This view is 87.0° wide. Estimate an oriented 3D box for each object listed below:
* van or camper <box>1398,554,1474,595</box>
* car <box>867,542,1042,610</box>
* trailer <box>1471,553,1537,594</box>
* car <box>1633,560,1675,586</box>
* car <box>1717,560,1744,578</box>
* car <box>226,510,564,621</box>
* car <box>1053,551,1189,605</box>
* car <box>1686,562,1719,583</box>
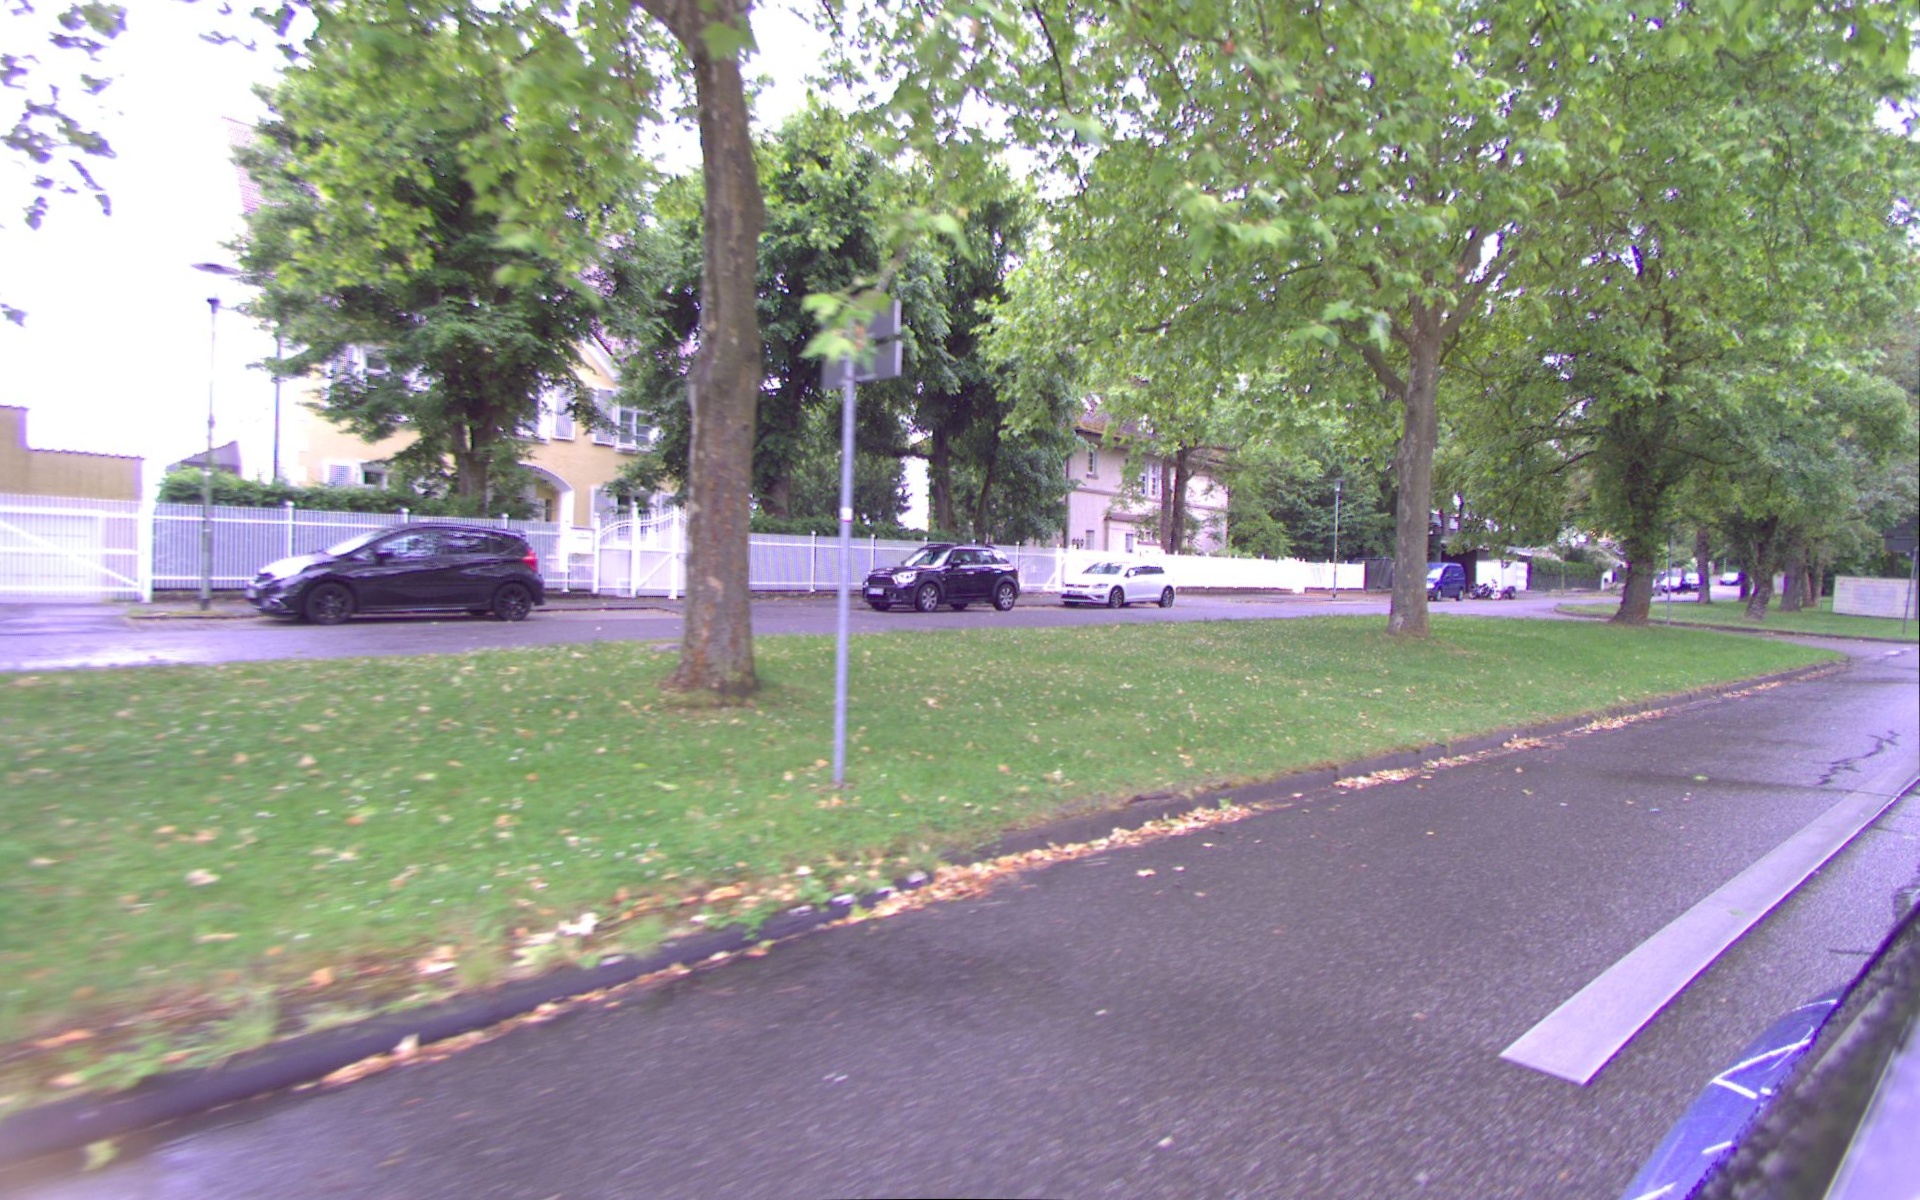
[{"bbox_3d":[22.669,-1.204,48.102,1.993,1.831,4.702,0,1,43],"label":"van or camper"},{"bbox_3d":[-0.067,-0.574,24.436,1.994,1.489,4.059,1,1,44],"label":"car"},{"bbox_3d":[29.503,-1.436,54.823,1.767,2.143,5.109,0,1,45],"label":"trailer"},{"bbox_3d":[58.061,-2.248,84.684,3.933,2.038,1.997,-1,3,-43],"label":"car"},{"bbox_3d":[90.721,-3.623,119.136,3.935,2.038,1.996,-1,4,-44],"label":"car"},{"bbox_3d":[-8.639,-0.493,15.745,1.760,1.489,4.288,-1,0,44],"label":"car"},{"bbox_3d":[4.795,-0.643,29.802,1.994,1.467,4.059,1,1,44],"label":"car"},{"bbox_3d":[74.544,-2.732,101.648,3.935,2.038,1.996,-1,4,-44],"label":"car"}]
